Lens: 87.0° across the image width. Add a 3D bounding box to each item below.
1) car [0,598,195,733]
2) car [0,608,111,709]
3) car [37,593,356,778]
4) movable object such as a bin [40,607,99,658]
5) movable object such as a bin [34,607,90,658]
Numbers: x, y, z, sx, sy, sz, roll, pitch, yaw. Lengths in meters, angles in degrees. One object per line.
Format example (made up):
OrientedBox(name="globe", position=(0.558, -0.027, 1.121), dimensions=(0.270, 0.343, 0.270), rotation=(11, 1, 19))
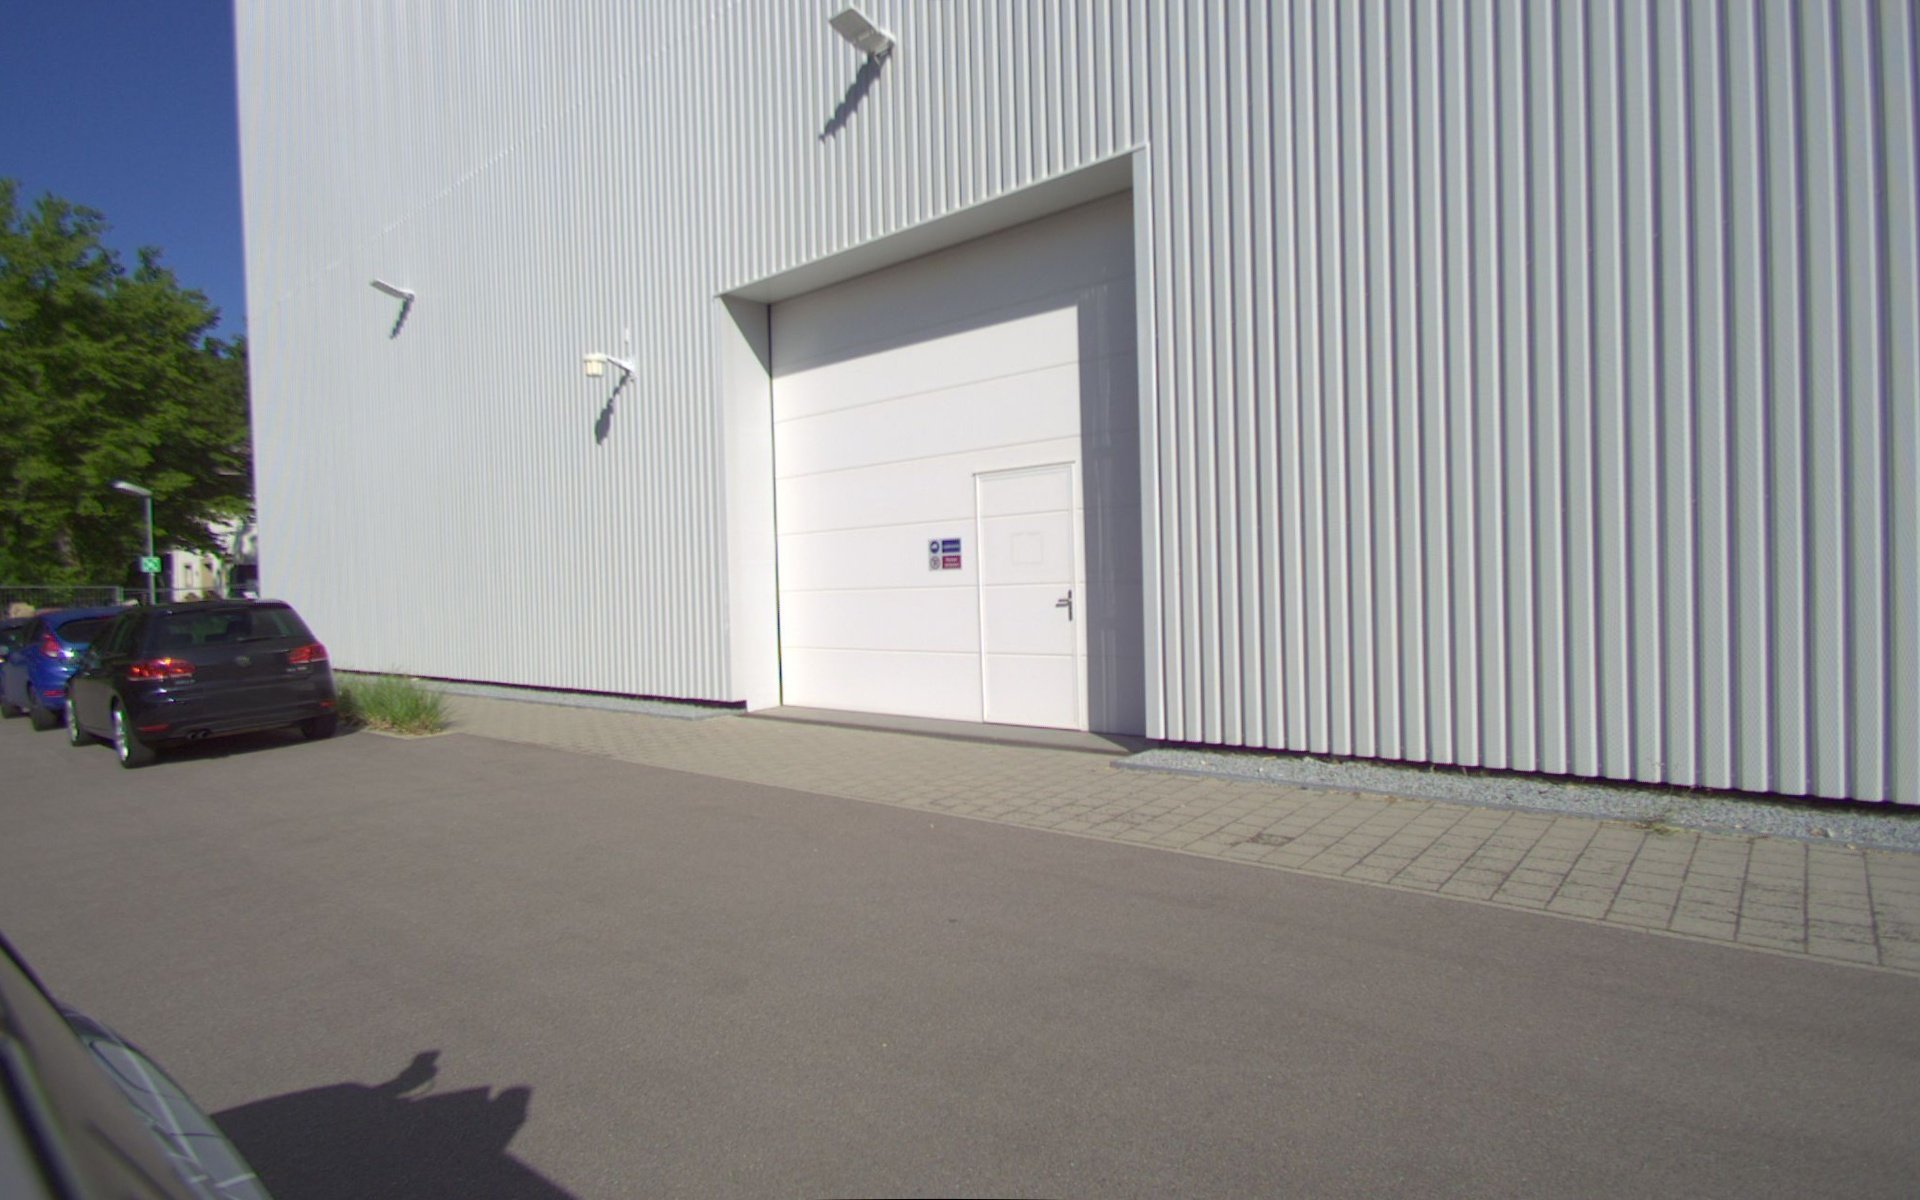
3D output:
OrientedBox(name="car", position=(-11.737, 0.817, 13.548), dimensions=(3.518, 1.499, 1.533), rotation=(-2, 2, 39))
OrientedBox(name="car", position=(-15.940, 0.963, 17.103), dimensions=(3.794, 1.459, 1.695), rotation=(-2, 2, 39))
OrientedBox(name="car", position=(-8.120, 0.771, 10.611), dimensions=(4.312, 1.456, 1.739), rotation=(-2, 3, 41))
OrientedBox(name="movable object such as a bin", position=(-26.023, 0.945, 29.572), dimensions=(1.288, 1.445, 1.126), rotation=(-2, -1, 41))
OrientedBox(name="movable object such as a bin", position=(-27.044, 0.972, 30.475), dimensions=(1.279, 1.489, 1.126), rotation=(-3, -2, 41))
